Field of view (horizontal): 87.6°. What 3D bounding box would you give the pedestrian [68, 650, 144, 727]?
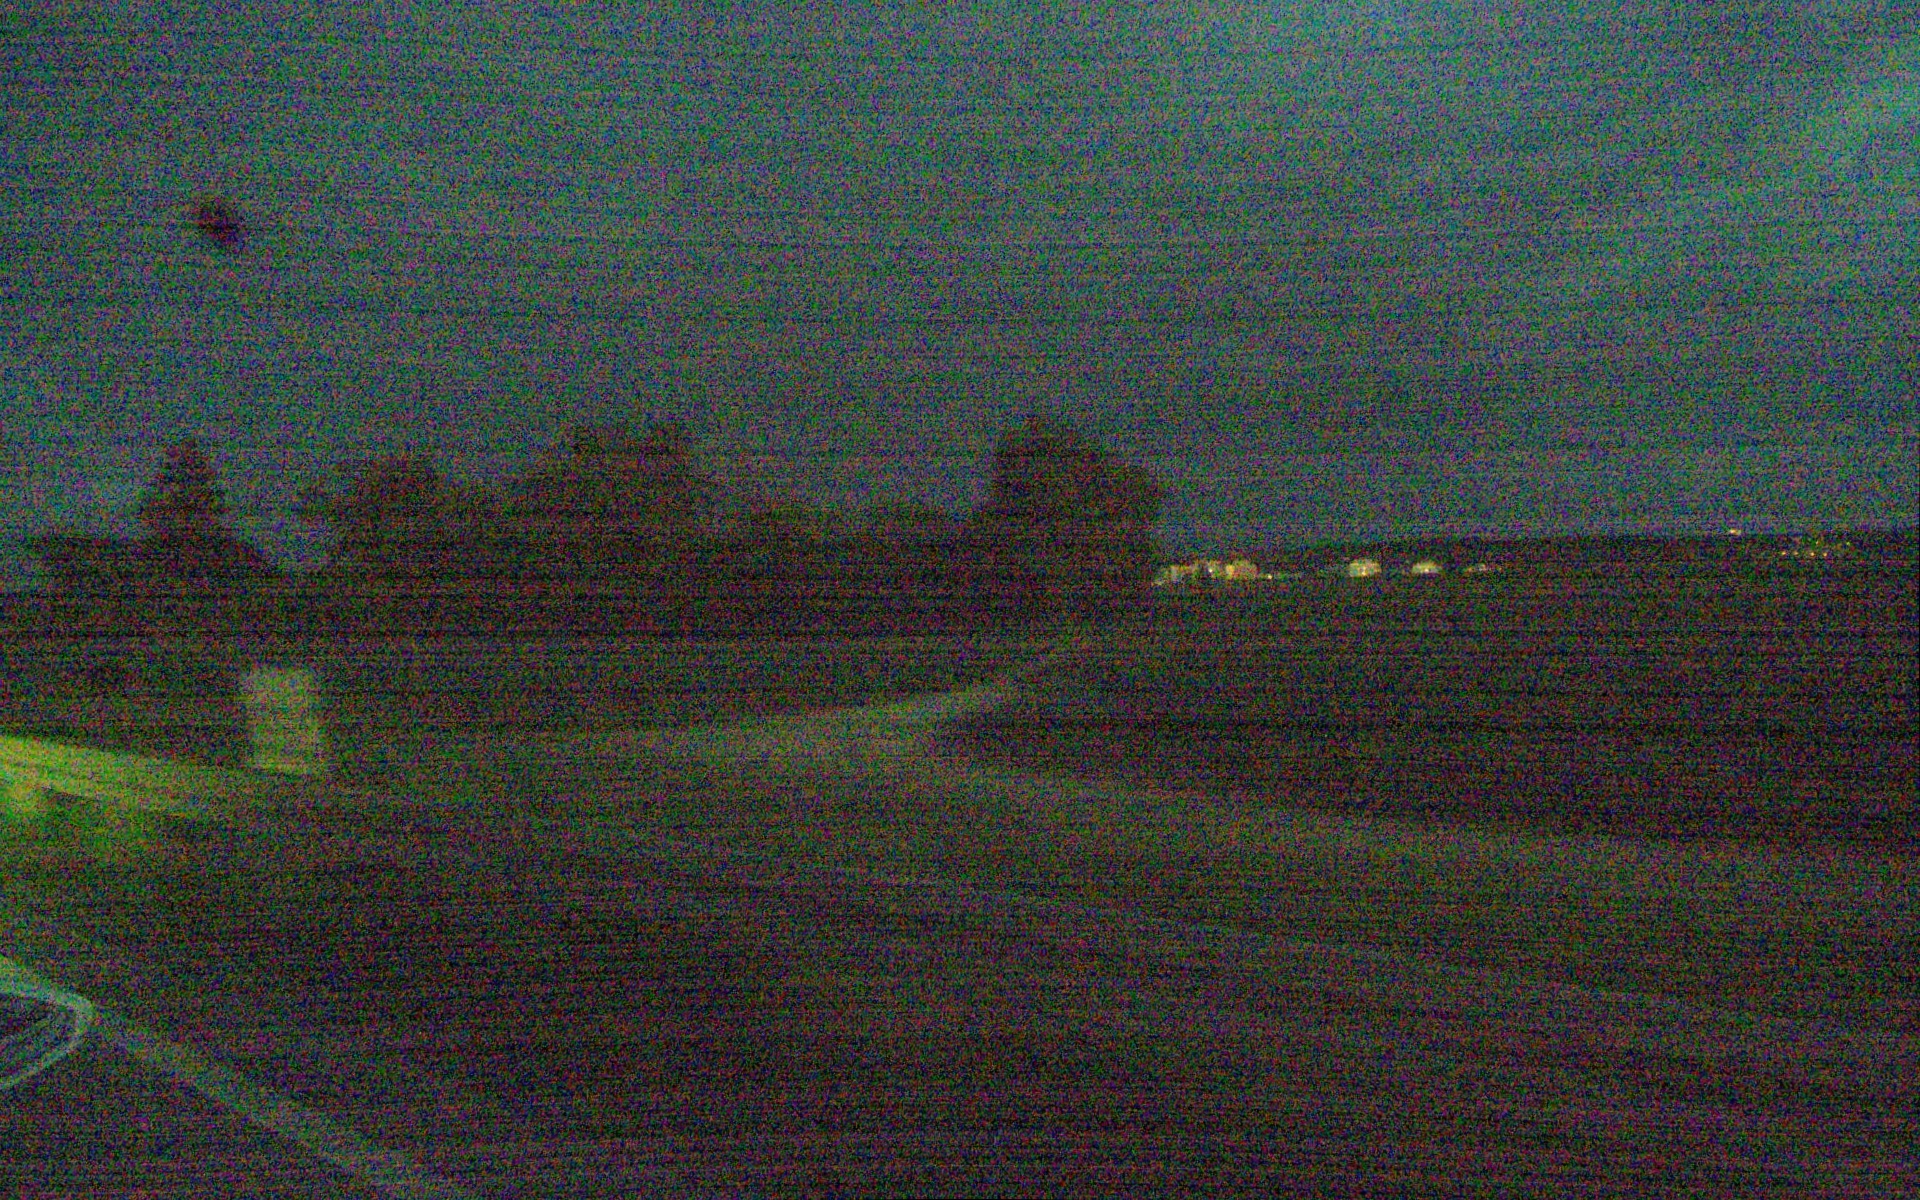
[{"bbox_3d":[-19.592,1.998,22.976,1.102,1.664,1.060,-1,-1,32],"label":"pedestrian"}]
